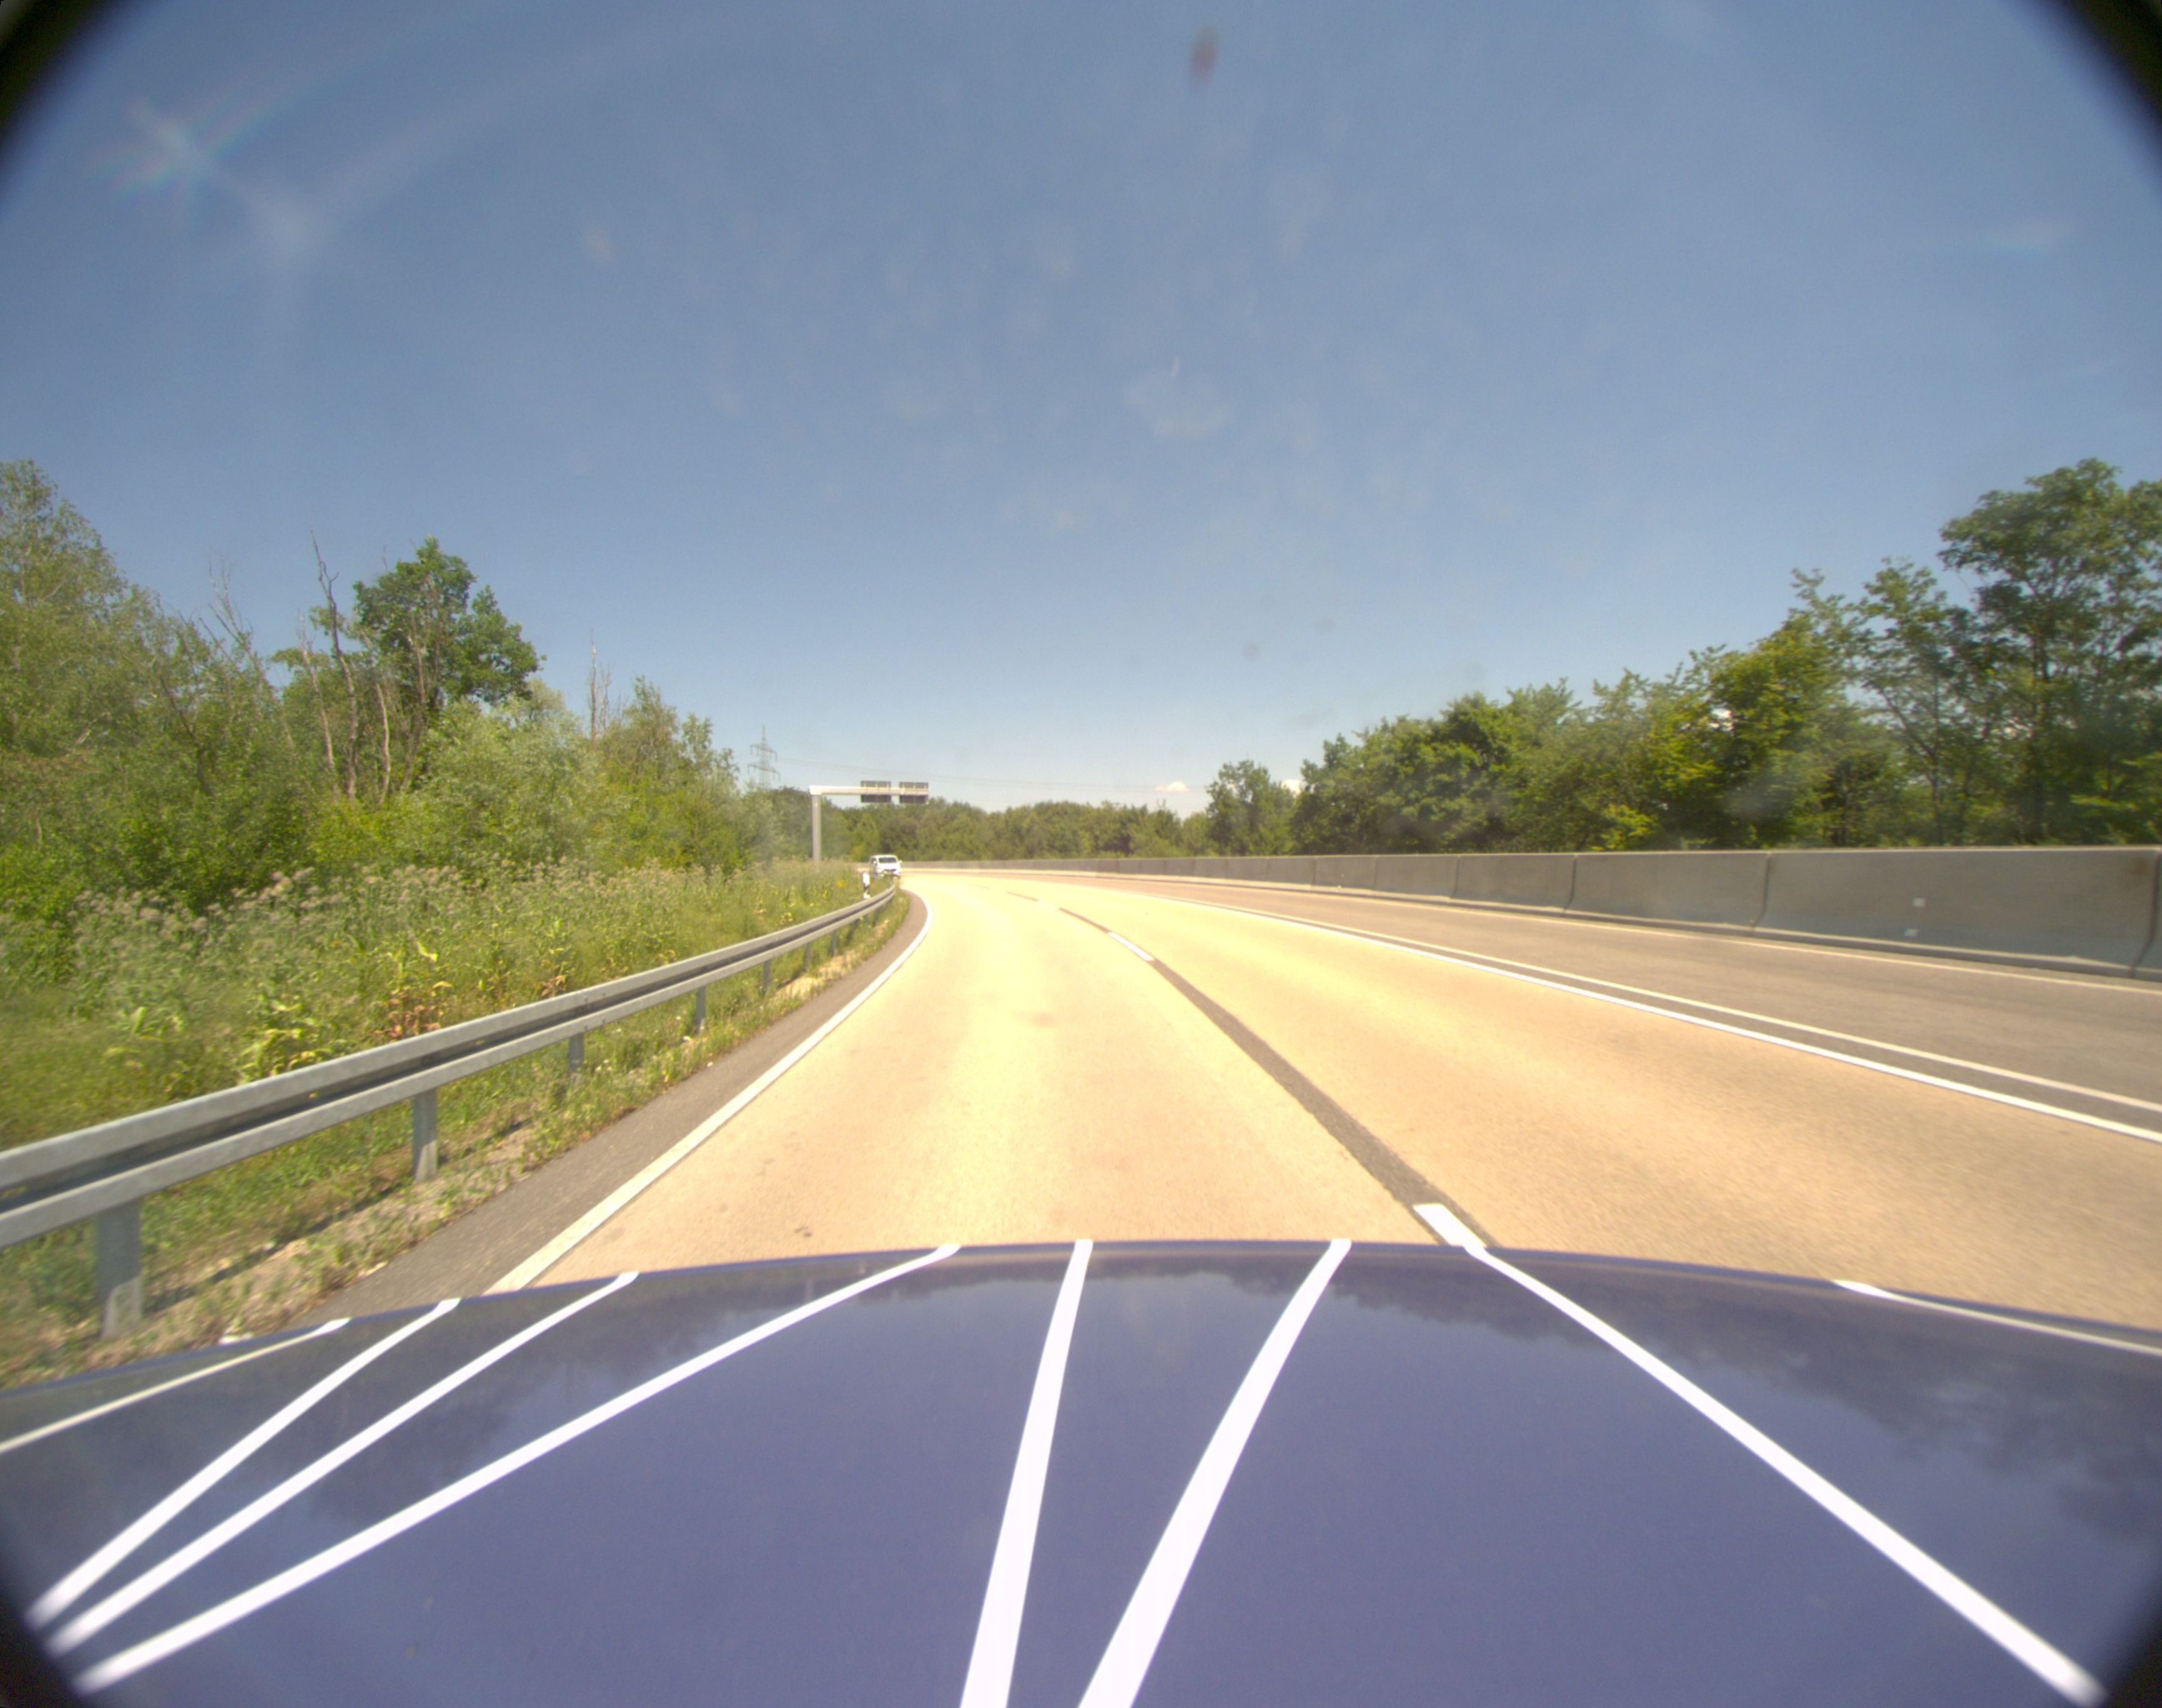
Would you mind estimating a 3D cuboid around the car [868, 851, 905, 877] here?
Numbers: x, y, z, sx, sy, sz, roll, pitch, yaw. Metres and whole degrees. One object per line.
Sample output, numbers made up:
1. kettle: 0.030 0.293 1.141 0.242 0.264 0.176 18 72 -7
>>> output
1. car: -16.408 0.788 63.874 2.066 2.002 5.031 -3 1 -24
